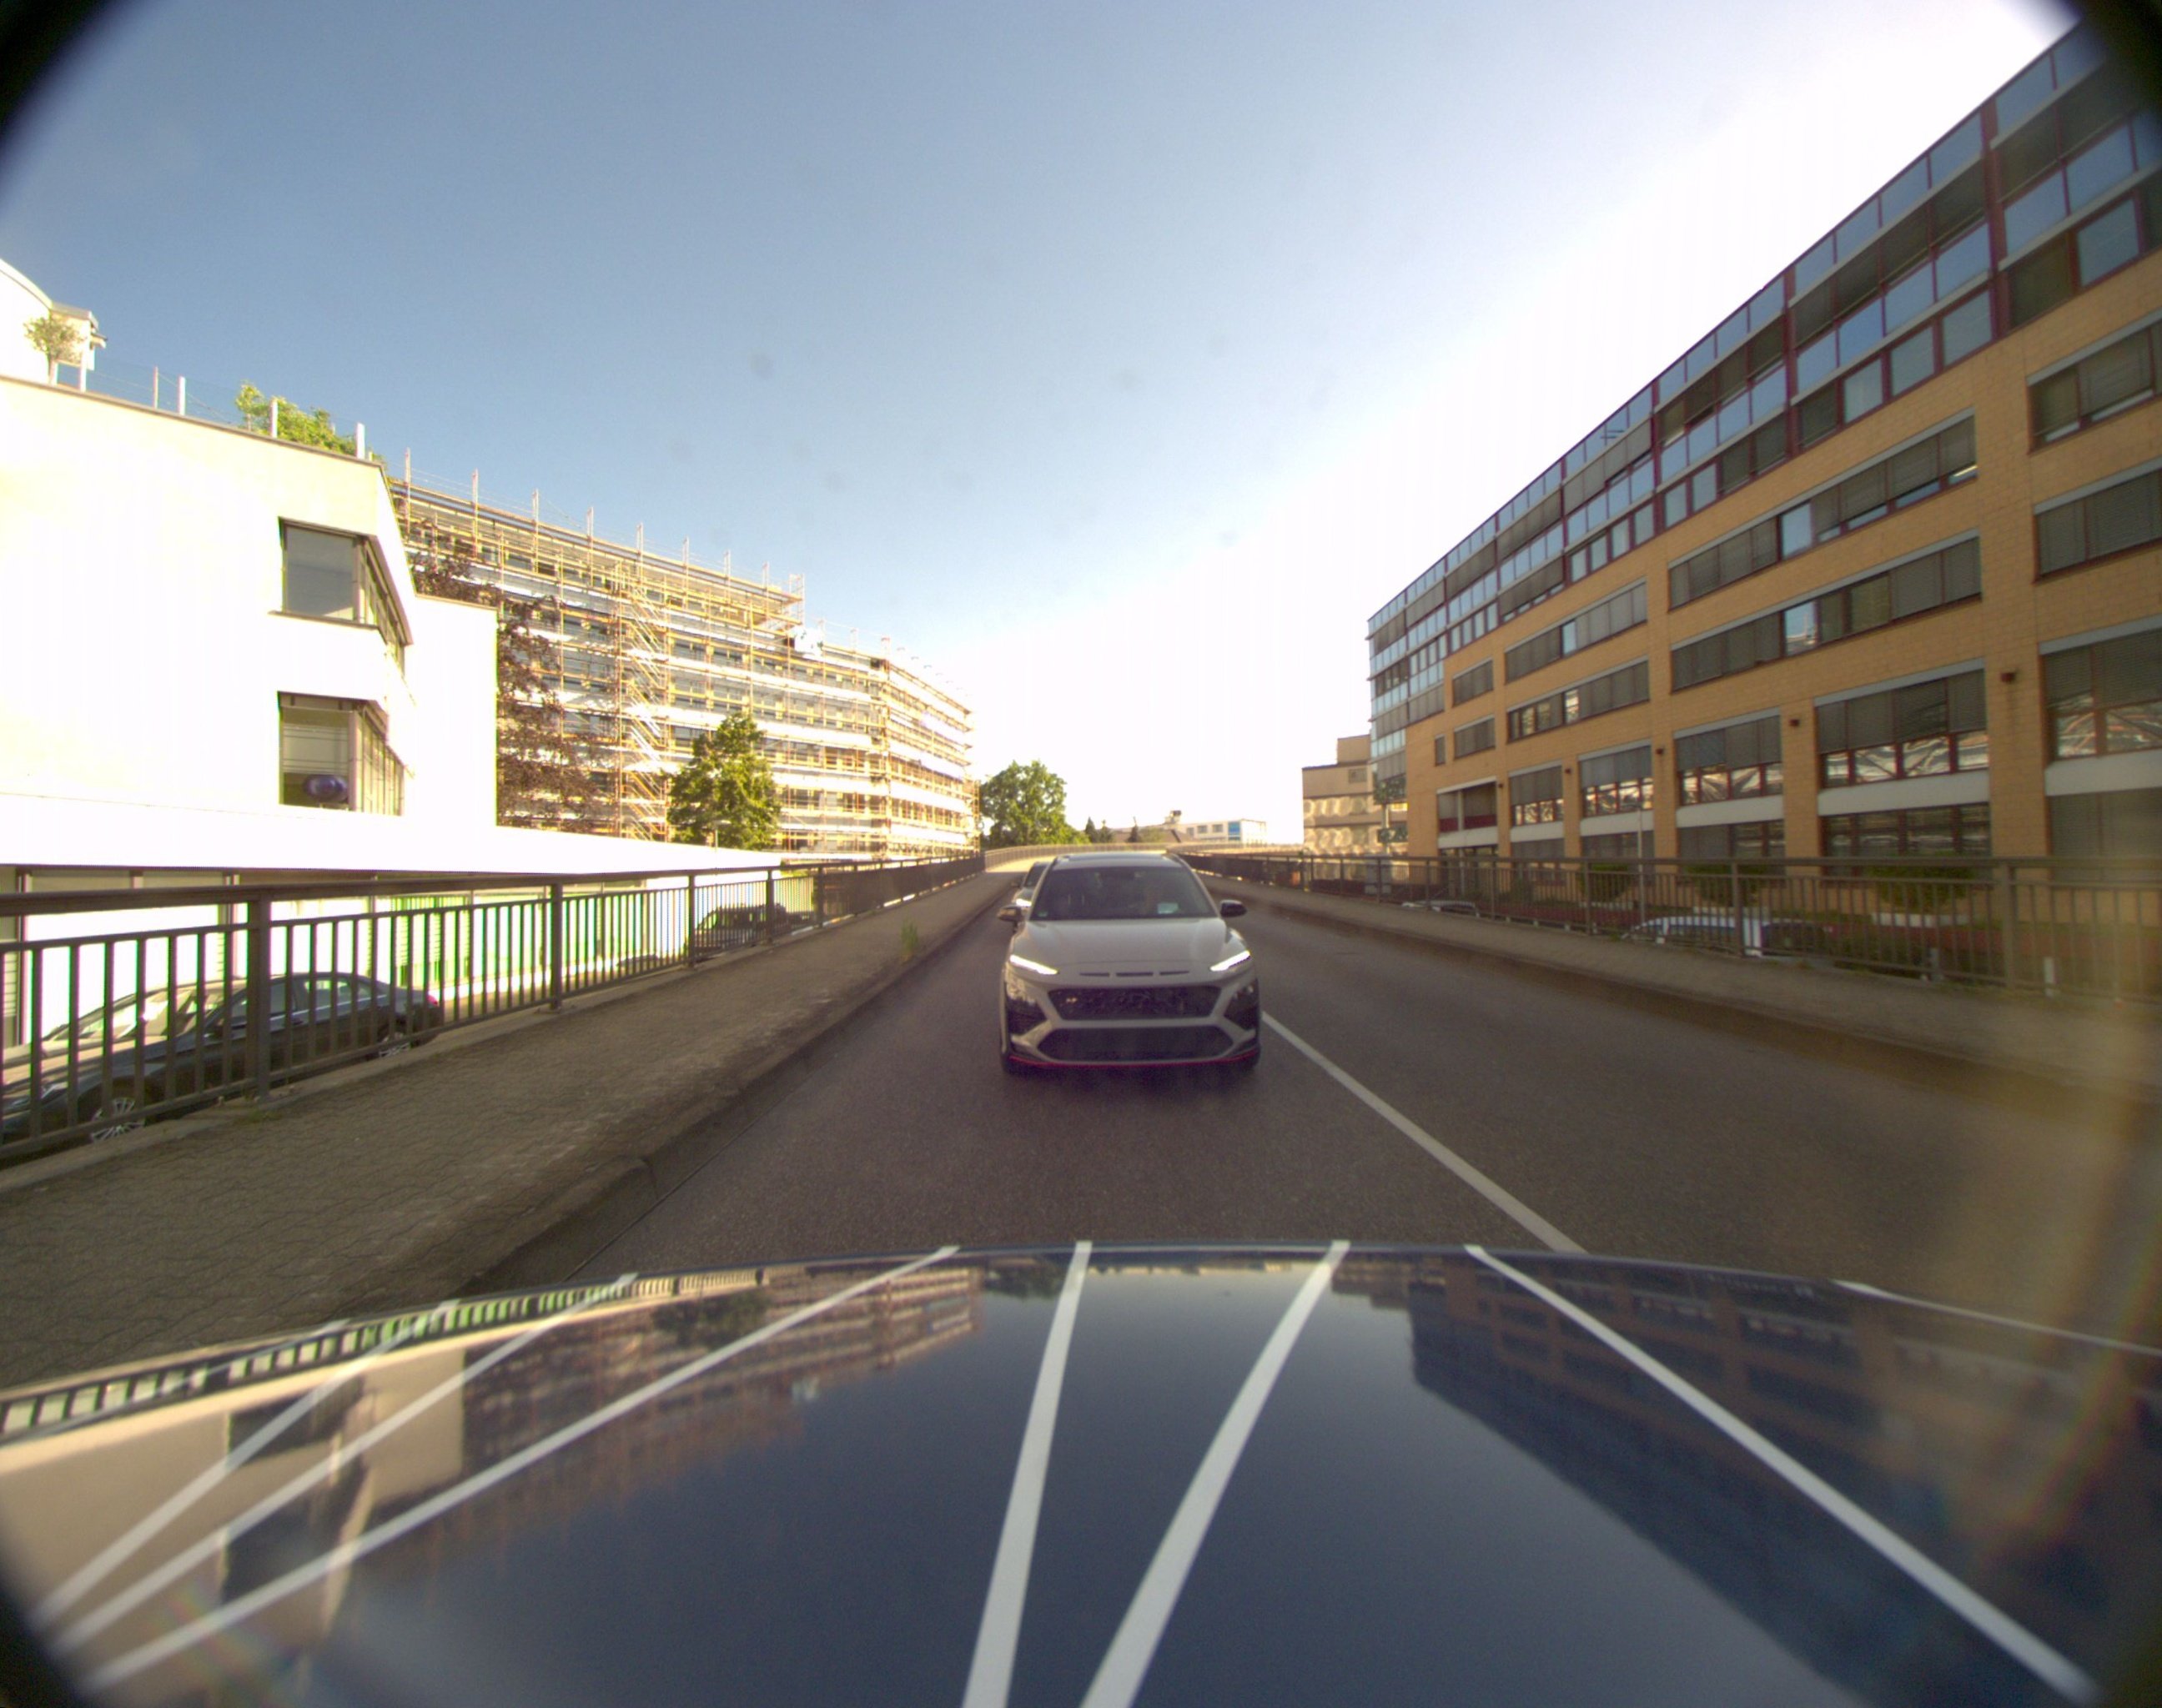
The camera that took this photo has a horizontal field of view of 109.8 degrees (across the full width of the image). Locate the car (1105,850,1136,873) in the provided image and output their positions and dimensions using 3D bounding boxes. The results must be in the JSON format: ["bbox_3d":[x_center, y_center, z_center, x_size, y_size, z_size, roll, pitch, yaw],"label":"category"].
[{"bbox_3d":[2.446,0.452,48.130,1.746,1.399,4.200,0,0,0],"label":"car"}]

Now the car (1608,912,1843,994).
[{"bbox_3d":[13.011,1.942,15.676,1.580,1.261,3.809,0,-1,-1],"label":"car"}]

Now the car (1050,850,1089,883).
[{"bbox_3d":[-0.628,0.632,41.211,1.952,1.456,3.998,3,3,-1],"label":"car"}]

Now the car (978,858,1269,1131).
[{"bbox_3d":[0.277,0.873,6.570,1.749,1.637,4.001,0,-1,1],"label":"car"}]

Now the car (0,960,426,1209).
[{"bbox_3d":[-9.612,2.174,8.102,1.726,1.513,4.001,-2,-1,1],"label":"car"}]

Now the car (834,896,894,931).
[{"bbox_3d":[-10.313,2.798,36.359,1.726,1.383,4.000,-2,-1,-1],"label":"car"}]

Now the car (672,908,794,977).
[{"bbox_3d":[-9.966,2.487,22.112,1.726,1.513,4.000,-2,-1,-1],"label":"car"}]

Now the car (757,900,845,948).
[{"bbox_3d":[-10.165,2.498,27.899,1.726,1.383,4.000,-2,-1,-1],"label":"car"}]

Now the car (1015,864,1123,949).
[{"bbox_3d":[-0.267,0.959,15.475,1.902,1.433,4.126,0,0,-2],"label":"car"}]

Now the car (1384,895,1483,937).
[{"bbox_3d":[12.668,2.205,27.582,1.766,1.261,3.809,0,-1,-1],"label":"car"}]
